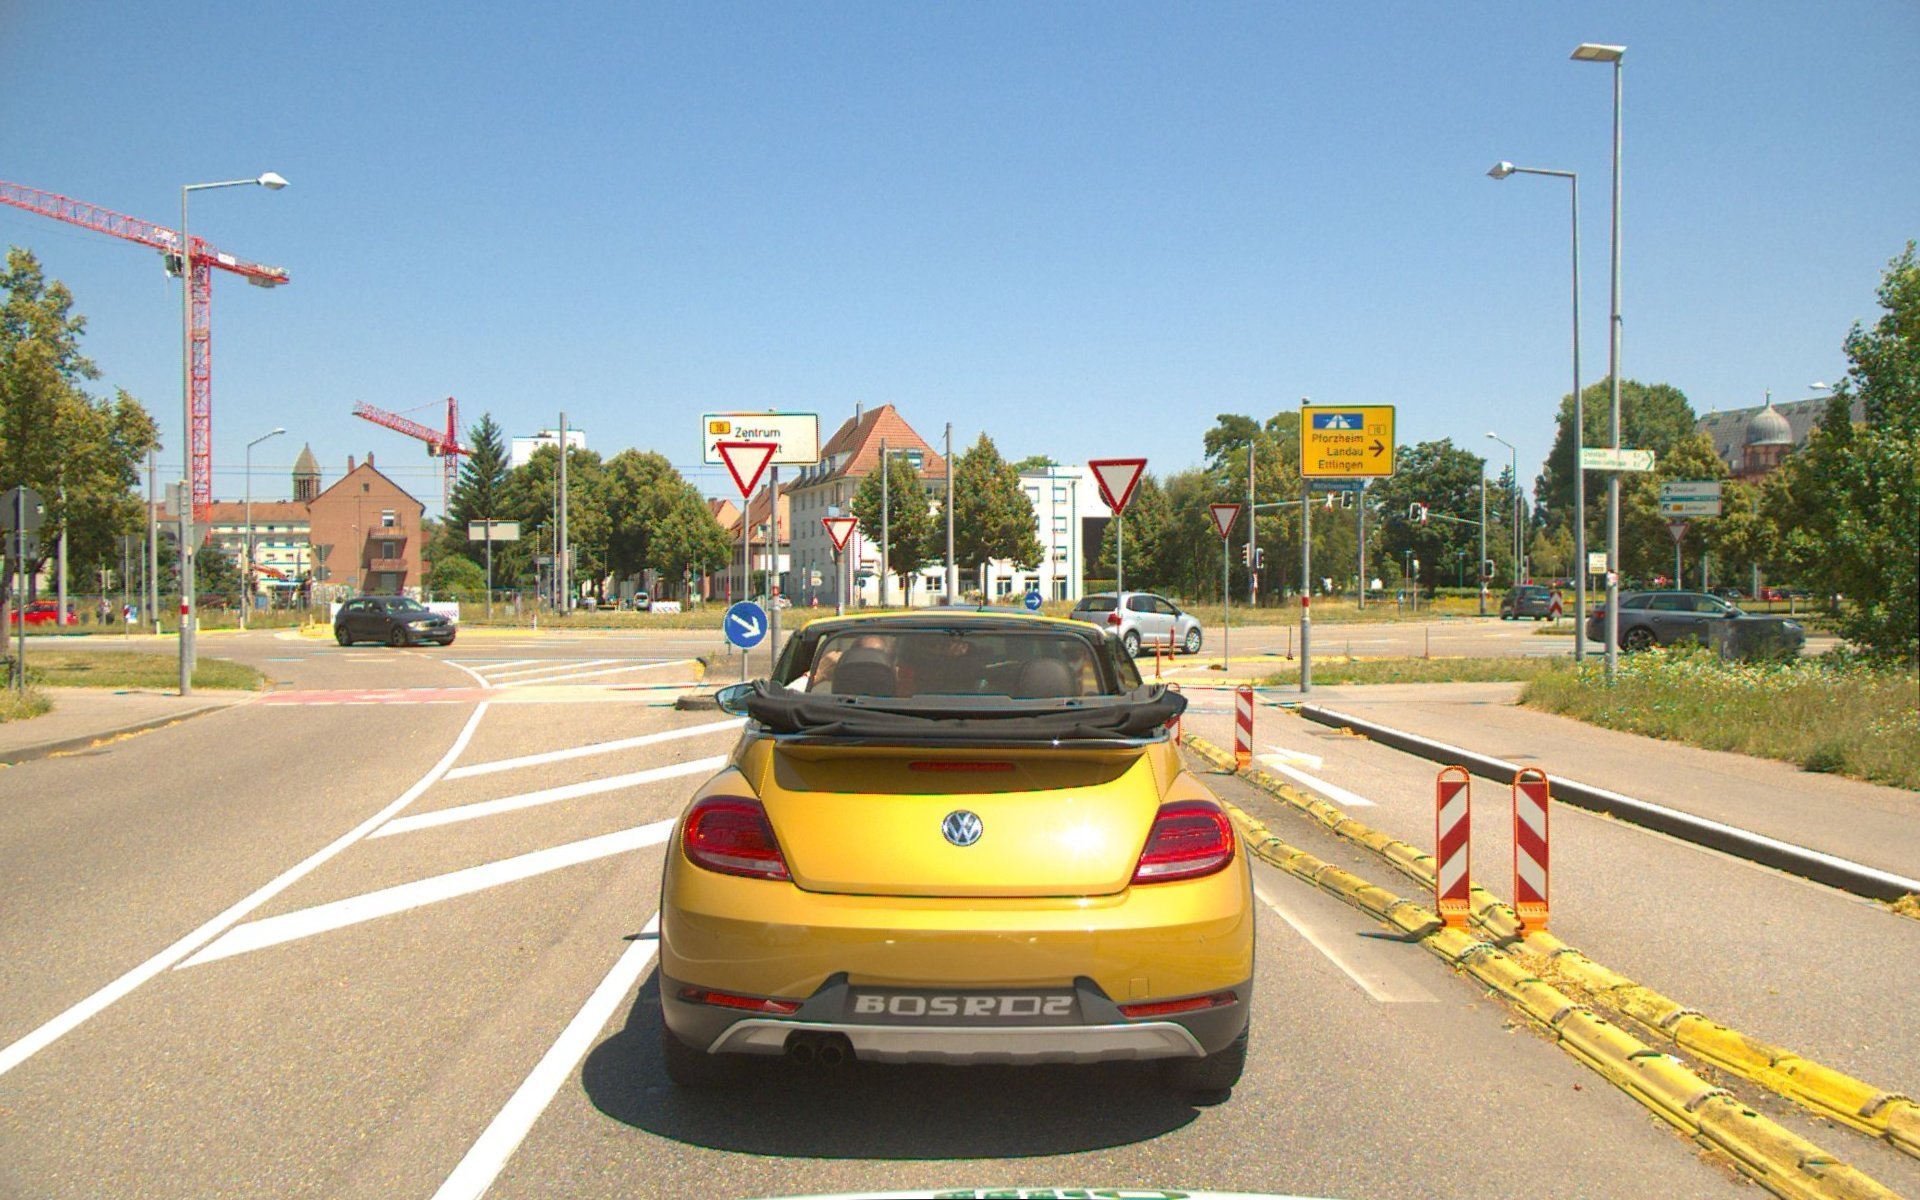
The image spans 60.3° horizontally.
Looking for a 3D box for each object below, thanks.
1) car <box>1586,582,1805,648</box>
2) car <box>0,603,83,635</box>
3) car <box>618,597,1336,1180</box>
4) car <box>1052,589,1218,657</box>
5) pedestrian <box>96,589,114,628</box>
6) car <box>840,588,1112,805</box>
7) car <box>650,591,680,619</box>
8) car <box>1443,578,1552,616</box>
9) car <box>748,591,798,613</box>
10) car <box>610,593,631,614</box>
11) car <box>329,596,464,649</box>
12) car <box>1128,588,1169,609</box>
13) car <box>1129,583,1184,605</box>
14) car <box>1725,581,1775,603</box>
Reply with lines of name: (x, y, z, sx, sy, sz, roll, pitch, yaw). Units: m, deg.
car: (16.700, 0.346, 37.798, 4.347, 1.443, 2.001, -1, 0, 17)
car: (-45.710, 0.927, 81.714, 4.014, 1.427, 1.740, -1, 1, -24)
car: (0.020, 0.725, 5.975, 1.788, 1.427, 3.661, 1, 0, -1)
car: (4.084, 0.500, 38.274, 1.752, 1.447, 3.972, 0, 1, 44)
pedestrian: (-44.644, 0.445, 86.387, 0.589, 2.049, 0.594, 1, -1, -1)
car: (-0.021, 0.663, 13.714, 1.763, 1.465, 3.994, 0, 1, -7)
car: (-22.446, 0.394, 125.779, 1.959, 2.049, 3.986, 1, 0, -13)
car: (22.174, -0.115, 68.301, 1.974, 1.490, 3.956, 1, 0, -32)
car: (-14.838, 0.162, 131.437, 3.909, 1.646, 1.998, 1, 0, -5)
car: (-34.035, 0.360, 165.704, 1.959, 2.049, 3.986, 1, 0, -13)
car: (-16.203, 0.619, 47.503, 4.001, 1.427, 1.746, 0, 1, 38)
car: (19.293, -0.173, 169.238, 3.902, 2.049, 2.001, 1, 0, 14)
car: (15.708, -0.471, 132.083, 3.918, 1.713, 1.993, 1, 0, -13)
car: (74.318, -0.771, 155.553, 3.923, 2.049, 1.991, 1, 0, 38)
